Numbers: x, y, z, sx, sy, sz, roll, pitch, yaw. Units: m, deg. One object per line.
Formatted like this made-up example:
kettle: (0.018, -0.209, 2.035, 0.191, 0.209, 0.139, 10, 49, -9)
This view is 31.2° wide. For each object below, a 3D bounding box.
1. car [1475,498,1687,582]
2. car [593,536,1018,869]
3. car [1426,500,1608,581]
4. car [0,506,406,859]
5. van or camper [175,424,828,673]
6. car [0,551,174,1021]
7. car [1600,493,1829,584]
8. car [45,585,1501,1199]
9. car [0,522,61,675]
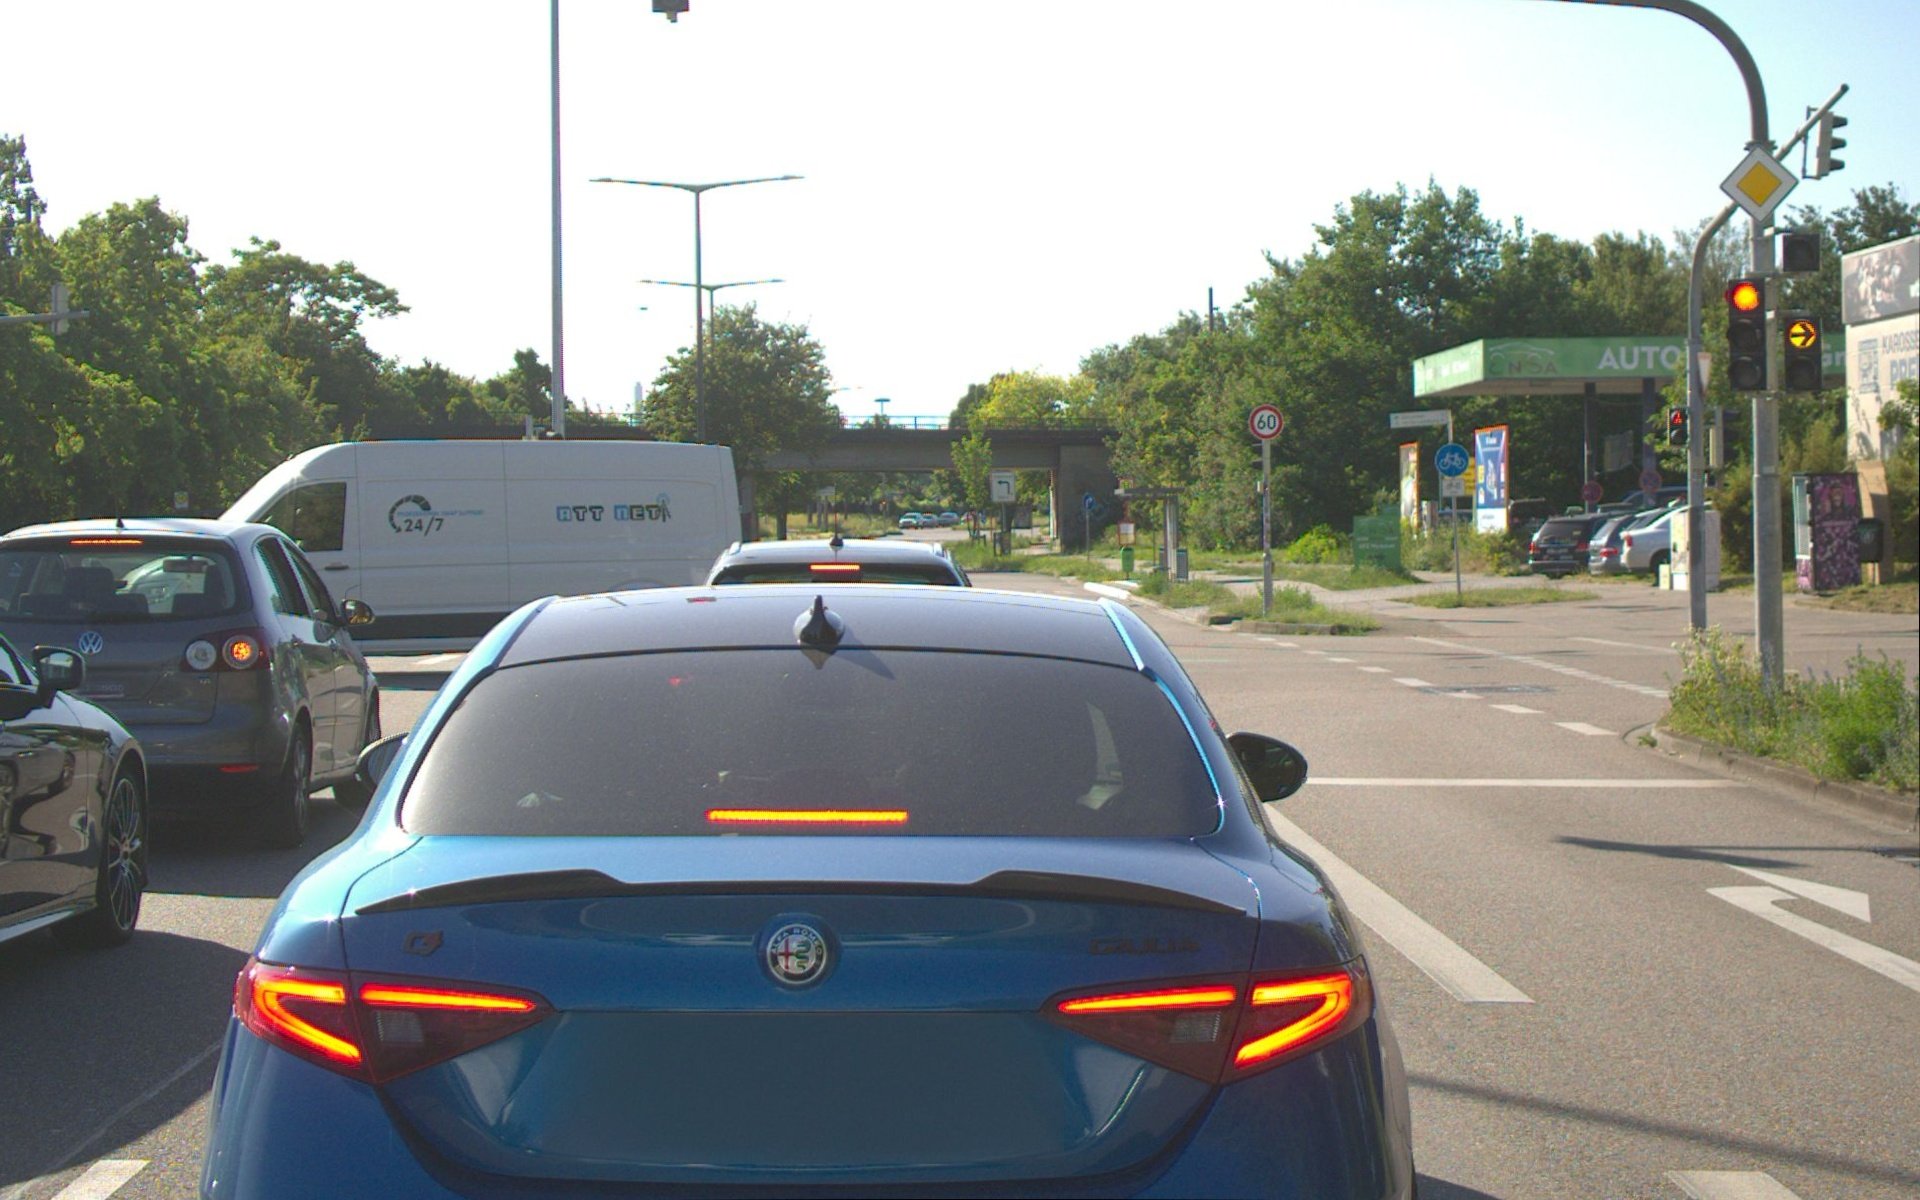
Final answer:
car: (12.811, -1.243, 70.971, 3.986, 1.700, 1.696, -1, 1, -19)
car: (-0.703, 0.415, 17.085, 1.866, 1.445, 3.932, 0, 1, -1)
car: (12.010, -1.281, 74.162, 3.483, 1.700, 1.696, -1, 1, -16)
car: (-3.956, 0.334, 17.551, 1.648, 1.593, 3.932, 0, 1, -1)
van or camper: (-4.992, -0.591, 37.513, 6.730, 2.563, 2.186, -1, 1, -20)
car: (-3.809, 0.574, 10.647, 1.768, 1.409, 4.461, 0, 1, -1)
car: (14.502, -1.190, 66.115, 3.986, 1.700, 1.696, -1, 1, -16)
car: (-0.264, 0.701, 6.384, 1.866, 1.380, 3.932, 0, 1, -1)
car: (-12.285, -0.006, 37.155, 4.599, 1.647, 2.000, -1, 1, -30)
